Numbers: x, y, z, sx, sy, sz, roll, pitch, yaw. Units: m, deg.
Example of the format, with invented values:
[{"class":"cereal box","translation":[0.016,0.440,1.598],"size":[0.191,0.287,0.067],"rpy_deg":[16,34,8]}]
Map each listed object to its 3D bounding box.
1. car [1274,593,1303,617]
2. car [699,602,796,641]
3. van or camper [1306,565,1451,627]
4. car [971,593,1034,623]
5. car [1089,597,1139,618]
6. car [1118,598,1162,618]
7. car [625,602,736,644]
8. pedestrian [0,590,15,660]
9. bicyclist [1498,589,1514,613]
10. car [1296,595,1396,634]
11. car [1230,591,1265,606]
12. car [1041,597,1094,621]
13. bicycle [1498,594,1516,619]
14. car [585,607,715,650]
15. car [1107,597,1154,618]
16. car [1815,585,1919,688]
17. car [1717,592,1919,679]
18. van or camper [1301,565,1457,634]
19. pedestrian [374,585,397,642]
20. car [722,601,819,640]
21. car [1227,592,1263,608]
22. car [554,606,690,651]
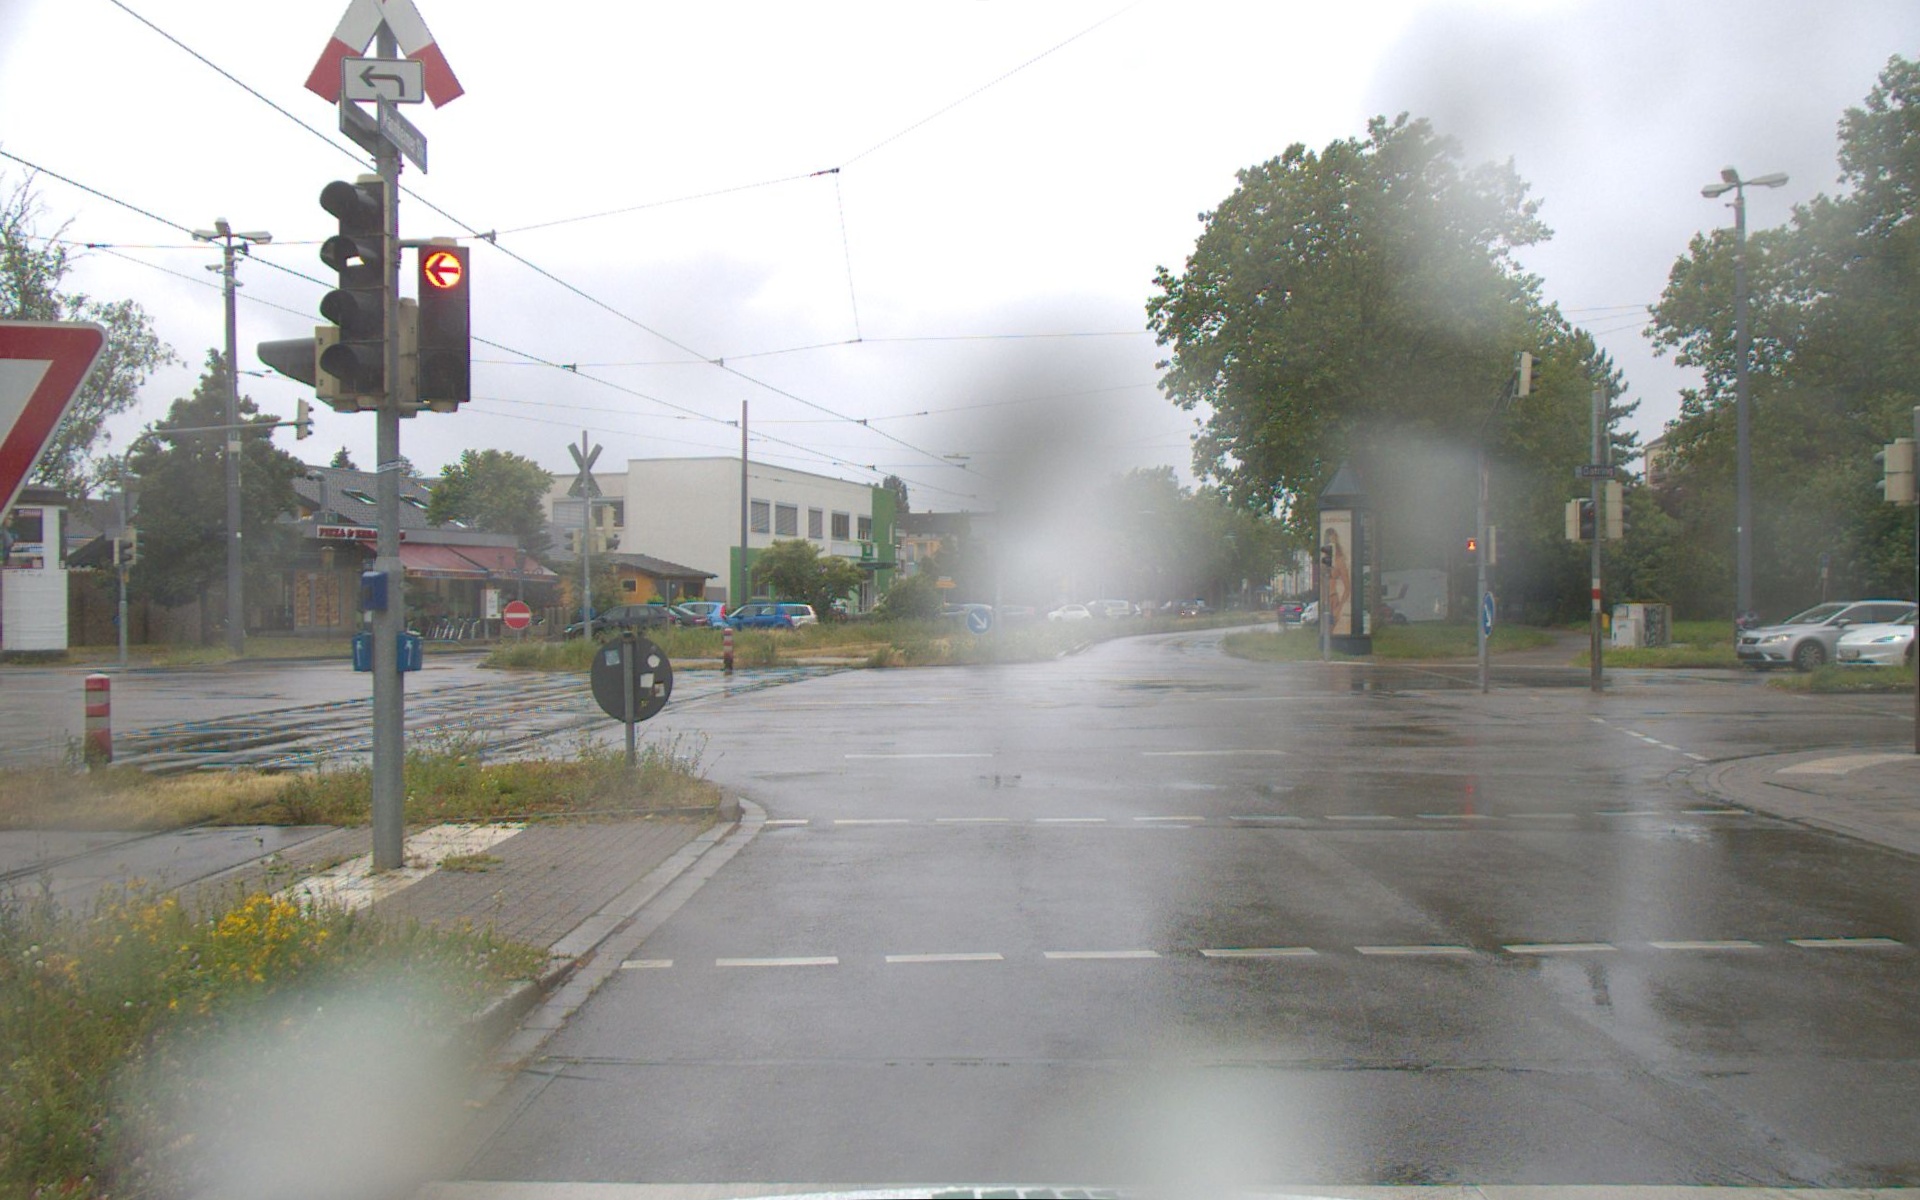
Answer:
[{"class":"car","translation":[23.726,0.370,119.265],"size":[1.768,1.716,3.914],"rpy_deg":[1,0,15]},{"class":"car","translation":[-8.954,0.880,69.639],"size":[3.916,1.609,1.924],"rpy_deg":[0,0,-12]},{"class":"van or camper","translation":[22.763,-0.206,89.952],"size":[7.274,3.234,3.262],"rpy_deg":[1,0,22]},{"class":"car","translation":[2.820,0.508,110.145],"size":[3.911,1.920,1.997],"rpy_deg":[1,0,-7]},{"class":"car","translation":[13.513,0.662,145.071],"size":[3.917,1.789,2.004],"rpy_deg":[1,0,-12]},{"class":"car","translation":[17.342,0.752,159.162],"size":[3.909,1.864,1.998],"rpy_deg":[1,0,-5]},{"class":"car","translation":[-10.889,0.878,64.595],"size":[3.903,1.609,1.859],"rpy_deg":[0,0,4]},{"class":"pedestrian","translation":[-25.430,0.648,43.532],"size":[0.876,1.829,0.718],"rpy_deg":[1,0,-36]},{"class":"bicyclist","translation":[33.182,0.084,100.481],"size":[0.843,1.450,0.957],"rpy_deg":[1,0,14]},{"class":"car","translation":[18.189,0.664,77.851],"size":[4.352,1.747,2.000],"rpy_deg":[1,0,21]},{"class":"car","translation":[35.479,-0.176,203.955],"size":[3.909,1.864,1.998],"rpy_deg":[1,0,-5]},{"class":"car","translation":[8.257,0.697,126.875],"size":[3.706,1.732,1.832],"rpy_deg":[1,0,-11]},{"class":"bicycle","translation":[33.084,0.397,100.097],"size":[0.843,1.450,2.705],"rpy_deg":[1,0,14]},{"class":"car","translation":[-11.437,1.032,61.196],"size":[4.405,1.443,1.858],"rpy_deg":[-2,0,0]},{"class":"car","translation":[15.870,0.704,154.070],"size":[3.917,1.864,1.994],"rpy_deg":[1,0,-12]},{"class":"car","translation":[18.874,0.704,31.297],"size":[4.506,1.860,1.931],"rpy_deg":[1,0,-7]},{"class":"car","translation":[18.432,0.731,34.644],"size":[4.309,1.721,1.931],"rpy_deg":[1,0,-7]},{"class":"van or camper","translation":[20.501,-0.038,80.835],"size":[7.168,3.234,3.264],"rpy_deg":[1,0,17]},{"class":"pedestrian","translation":[-20.958,0.500,60.299],"size":[0.713,2.049,0.789],"rpy_deg":[1,-1,-23]},{"class":"car","translation":[-8.363,0.880,72.762],"size":[4.040,1.670,1.922],"rpy_deg":[0,0,-15]},{"class":"car","translation":[34.273,-0.013,199.202],"size":[3.909,1.864,1.998],"rpy_deg":[1,0,-5]},{"class":"car","translation":[-11.982,0.997,58.781],"size":[4.385,1.443,1.858],"rpy_deg":[-2,0,0]}]
